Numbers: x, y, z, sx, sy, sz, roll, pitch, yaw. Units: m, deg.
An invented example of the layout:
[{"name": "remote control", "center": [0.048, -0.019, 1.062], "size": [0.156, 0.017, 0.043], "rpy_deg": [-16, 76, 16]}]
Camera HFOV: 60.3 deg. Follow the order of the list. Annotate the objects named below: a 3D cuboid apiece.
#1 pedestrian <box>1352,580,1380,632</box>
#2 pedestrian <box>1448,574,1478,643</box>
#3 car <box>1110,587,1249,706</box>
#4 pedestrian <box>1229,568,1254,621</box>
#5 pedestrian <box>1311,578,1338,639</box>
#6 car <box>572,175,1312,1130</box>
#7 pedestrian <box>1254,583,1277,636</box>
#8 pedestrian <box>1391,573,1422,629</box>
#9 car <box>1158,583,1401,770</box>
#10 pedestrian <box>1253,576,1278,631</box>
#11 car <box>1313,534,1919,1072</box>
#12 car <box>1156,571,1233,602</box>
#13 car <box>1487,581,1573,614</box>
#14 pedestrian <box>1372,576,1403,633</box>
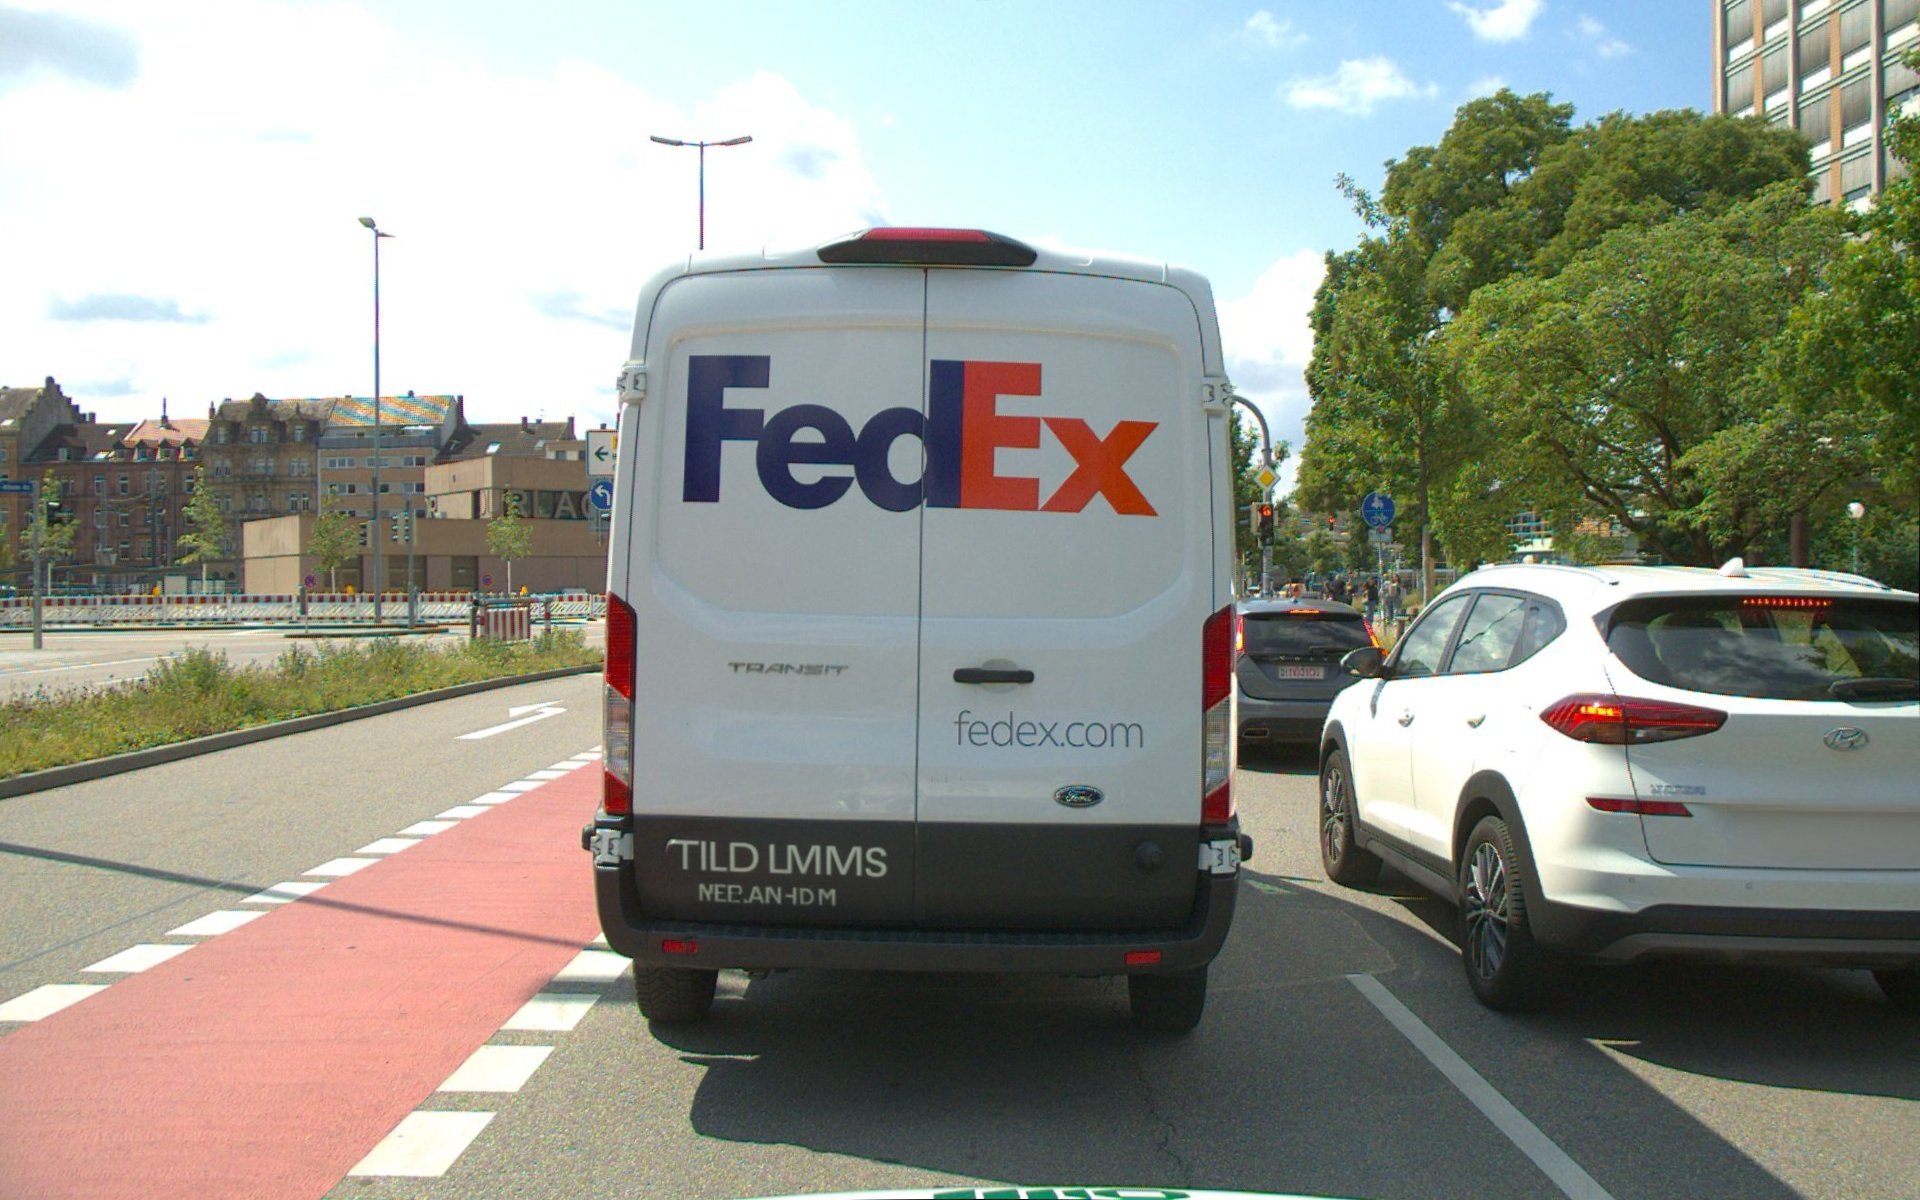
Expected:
[{"name": "pedestrian", "center": [13.334, 0.186, 54.274], "size": [0.743, 1.684, 0.816], "rpy_deg": [0, 0, 3]}, {"name": "pedestrian", "center": [13.778, 0.229, 45.306], "size": [0.742, 1.882, 0.817], "rpy_deg": [0, 0, 15]}, {"name": "car", "center": [2.933, 0.575, 22.632], "size": [1.468, 1.489, 3.474], "rpy_deg": [0, 1, 1]}, {"name": "pedestrian", "center": [10.234, -0.202, 60.052], "size": [0.796, 1.882, 0.761], "rpy_deg": [0, 0, 2]}, {"name": "pedestrian", "center": [11.385, 0.253, 51.678], "size": [0.743, 1.882, 0.816], "rpy_deg": [0, 0, 18]}, {"name": "car", "center": [-0.021, 0.122, 6.786], "size": [2.030, 2.626, 4.428], "rpy_deg": [0, 1, 1]}, {"name": "pedestrian", "center": [10.933, 0.333, 59.208], "size": [0.742, 1.882, 0.817], "rpy_deg": [0, 0, 14]}, {"name": "pedestrian", "center": [15.194, 0.034, 56.244], "size": [0.745, 1.882, 0.814], "rpy_deg": [0, 0, -9]}, {"name": "car", "center": [2.931, 0.630, 15.888], "size": [1.656, 1.576, 3.721], "rpy_deg": [0, 1, 1]}, {"name": "pedestrian", "center": [10.494, 0.115, 56.845], "size": [0.743, 1.882, 0.816], "rpy_deg": [0, 0, 18]}, {"name": "car", "center": [2.841, 0.621, 7.247], "size": [1.777, 1.708, 3.974], "rpy_deg": [0, 1, 1]}, {"name": "car", "center": [21.784, -1.248, 153.851], "size": [6.912, 2.765, 2.497], "rpy_deg": [1, 0, 5]}, {"name": "car", "center": [50.866, -0.202, 147.624], "size": [6.938, 2.765, 2.488], "rpy_deg": [1, 0, -13]}, {"name": "pedestrian", "center": [14.377, 0.139, 55.641], "size": [0.745, 1.882, 0.814], "rpy_deg": [-1, 0, -11]}]
